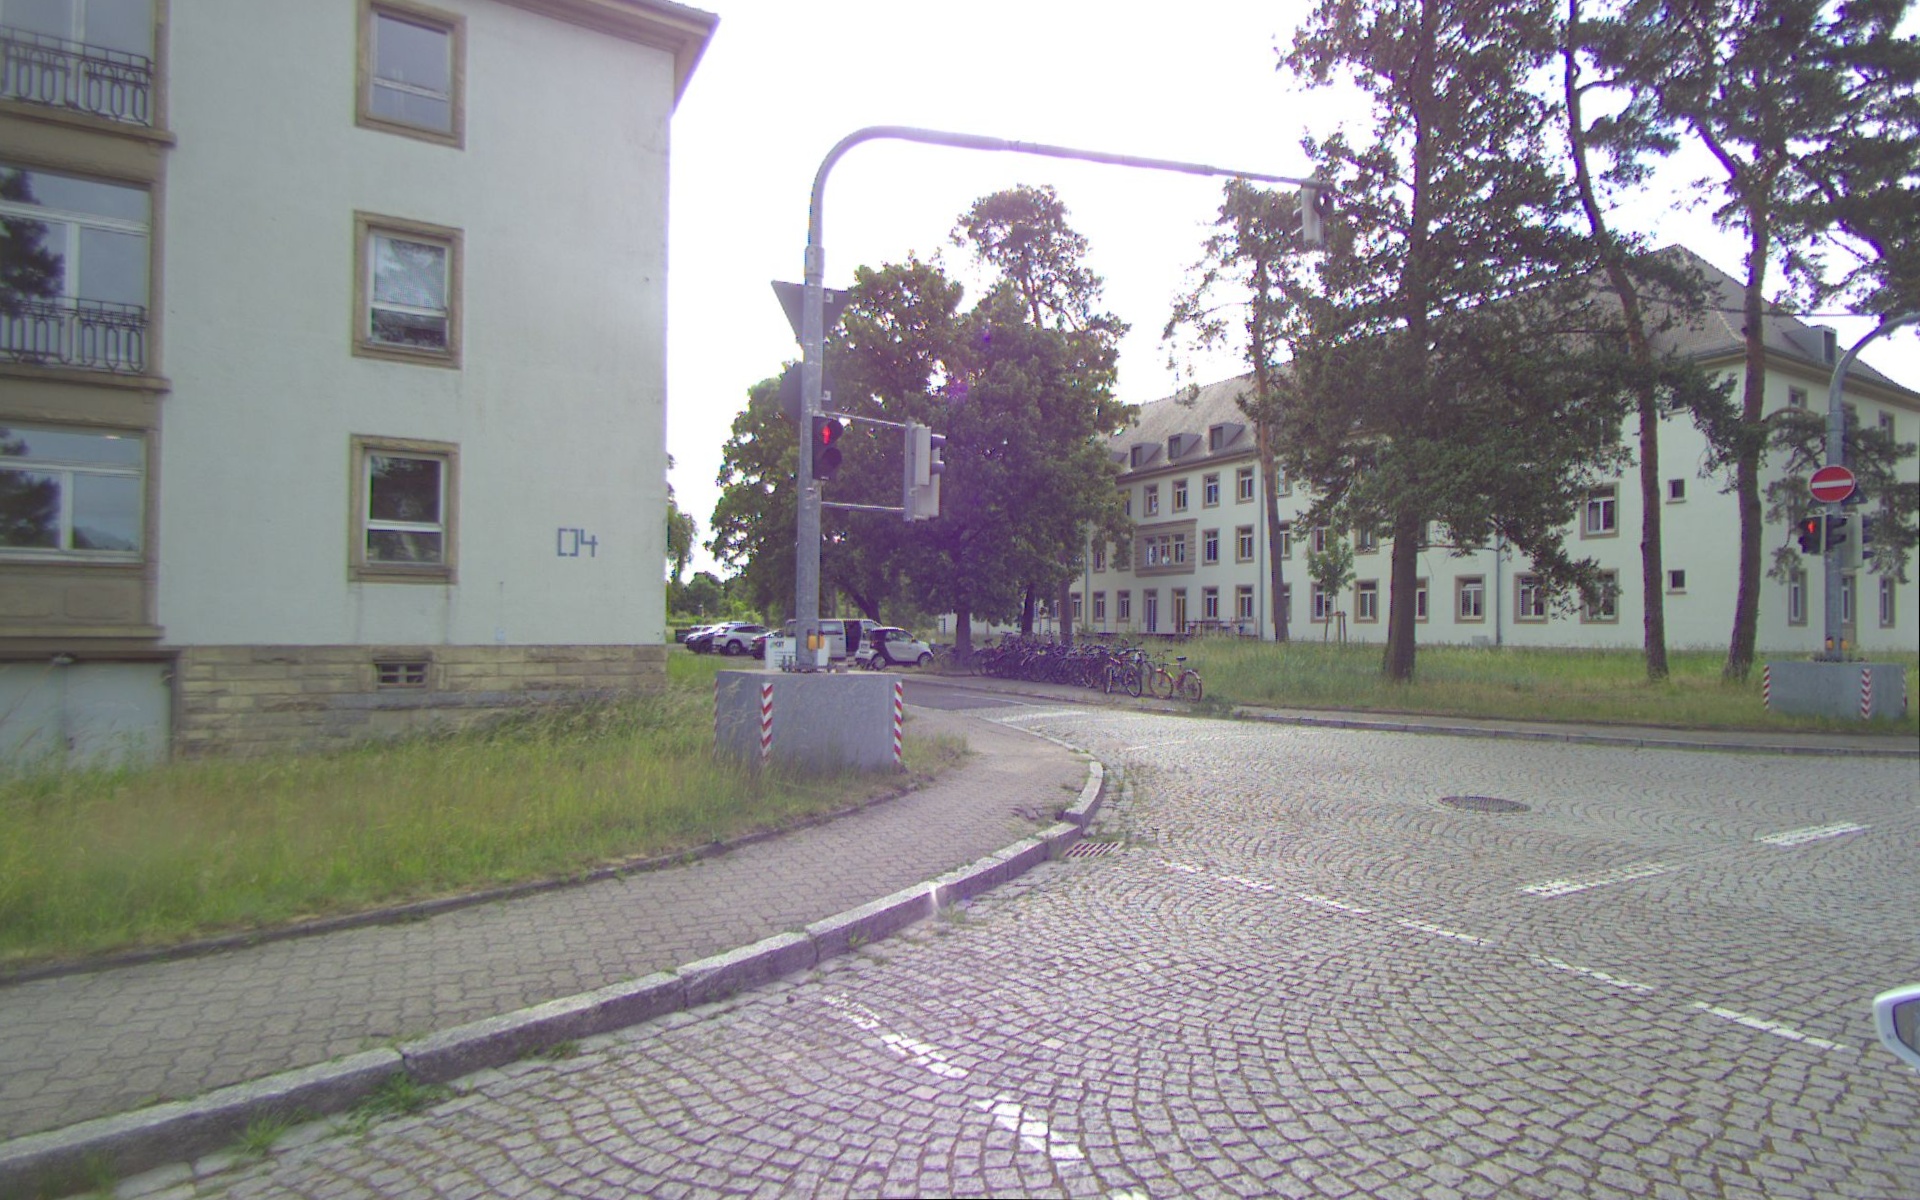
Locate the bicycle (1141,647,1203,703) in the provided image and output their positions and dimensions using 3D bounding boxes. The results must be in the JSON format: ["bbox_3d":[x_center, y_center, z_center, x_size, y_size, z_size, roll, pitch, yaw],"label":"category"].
[{"bbox_3d":[4.554,1.595,21.680,0.492,1.089,1.406,-2,0,-29],"label":"bicycle"}]

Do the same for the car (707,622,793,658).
[{"bbox_3d":[-11.058,2.108,53.017,4.055,1.743,1.840,2,0,-37],"label":"car"}]

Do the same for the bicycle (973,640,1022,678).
[{"bbox_3d":[1.143,1.755,30.274,1.442,1.052,0.493,-2,1,-34],"label":"bicycle"}]

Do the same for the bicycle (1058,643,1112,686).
[{"bbox_3d":[3.306,1.686,26.473,1.442,1.052,0.493,-2,1,-34],"label":"bicycle"}]

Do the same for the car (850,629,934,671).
[{"bbox_3d":[-2.574,1.846,37.900,2.740,1.434,1.580,-1,0,-30],"label":"car"}]

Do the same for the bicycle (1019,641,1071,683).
[{"bbox_3d":[2.371,1.717,27.933,1.442,1.052,0.493,-2,1,-34],"label":"bicycle"}]

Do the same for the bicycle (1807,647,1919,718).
[{"bbox_3d":[15.481,1.387,17.211,0.492,1.089,1.404,-2,0,-31],"label":"bicycle"}]

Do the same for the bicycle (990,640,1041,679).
[{"bbox_3d":[1.628,1.723,29.353,1.442,1.052,0.493,-2,1,-34],"label":"bicycle"}]

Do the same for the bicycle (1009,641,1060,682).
[{"bbox_3d":[2.102,1.712,28.342,1.442,1.052,0.493,-2,1,-34],"label":"bicycle"}]

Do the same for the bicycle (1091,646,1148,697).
[{"bbox_3d":[3.636,1.615,22.991,0.492,1.052,1.406,-2,0,-29],"label":"bicycle"}]

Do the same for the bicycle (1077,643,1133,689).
[{"bbox_3d":[3.683,1.660,25.507,1.442,1.052,0.493,-2,1,-34],"label":"bicycle"}]

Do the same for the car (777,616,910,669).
[{"bbox_3d":[-4.638,1.664,40.545,5.133,1.942,2.011,-1,-1,-43],"label":"car"}]

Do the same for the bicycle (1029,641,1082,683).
[{"bbox_3d":[2.620,1.681,27.540,1.442,1.052,0.493,-2,1,-34],"label":"bicycle"}]

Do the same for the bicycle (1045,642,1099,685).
[{"bbox_3d":[3.005,1.687,26.970,1.442,1.052,0.493,-2,1,-34],"label":"bicycle"}]

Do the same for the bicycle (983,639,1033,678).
[{"bbox_3d":[1.431,1.735,29.843,1.442,1.052,0.493,-2,1,-34],"label":"bicycle"}]

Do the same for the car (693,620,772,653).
[{"bbox_3d":[-13.181,2.108,58.189,4.055,1.790,1.811,2,0,-37],"label":"car"}]

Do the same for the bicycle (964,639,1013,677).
[{"bbox_3d":[0.872,1.766,30.662,1.442,1.052,0.493,-2,1,-34],"label":"bicycle"}]

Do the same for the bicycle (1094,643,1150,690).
[{"bbox_3d":[4.005,1.631,24.783,1.443,1.052,0.493,-2,1,-37],"label":"bicycle"}]

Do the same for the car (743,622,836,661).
[{"bbox_3d":[-8.192,1.996,48.374,4.055,1.743,1.840,2,0,-37],"label":"car"}]

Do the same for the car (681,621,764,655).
[{"bbox_3d":[-13.109,2.097,55.504,4.055,1.790,1.811,2,0,-37],"label":"car"}]

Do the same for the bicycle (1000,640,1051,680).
[{"bbox_3d":[1.894,1.723,28.945,1.442,1.052,0.493,-2,1,-34],"label":"bicycle"}]
